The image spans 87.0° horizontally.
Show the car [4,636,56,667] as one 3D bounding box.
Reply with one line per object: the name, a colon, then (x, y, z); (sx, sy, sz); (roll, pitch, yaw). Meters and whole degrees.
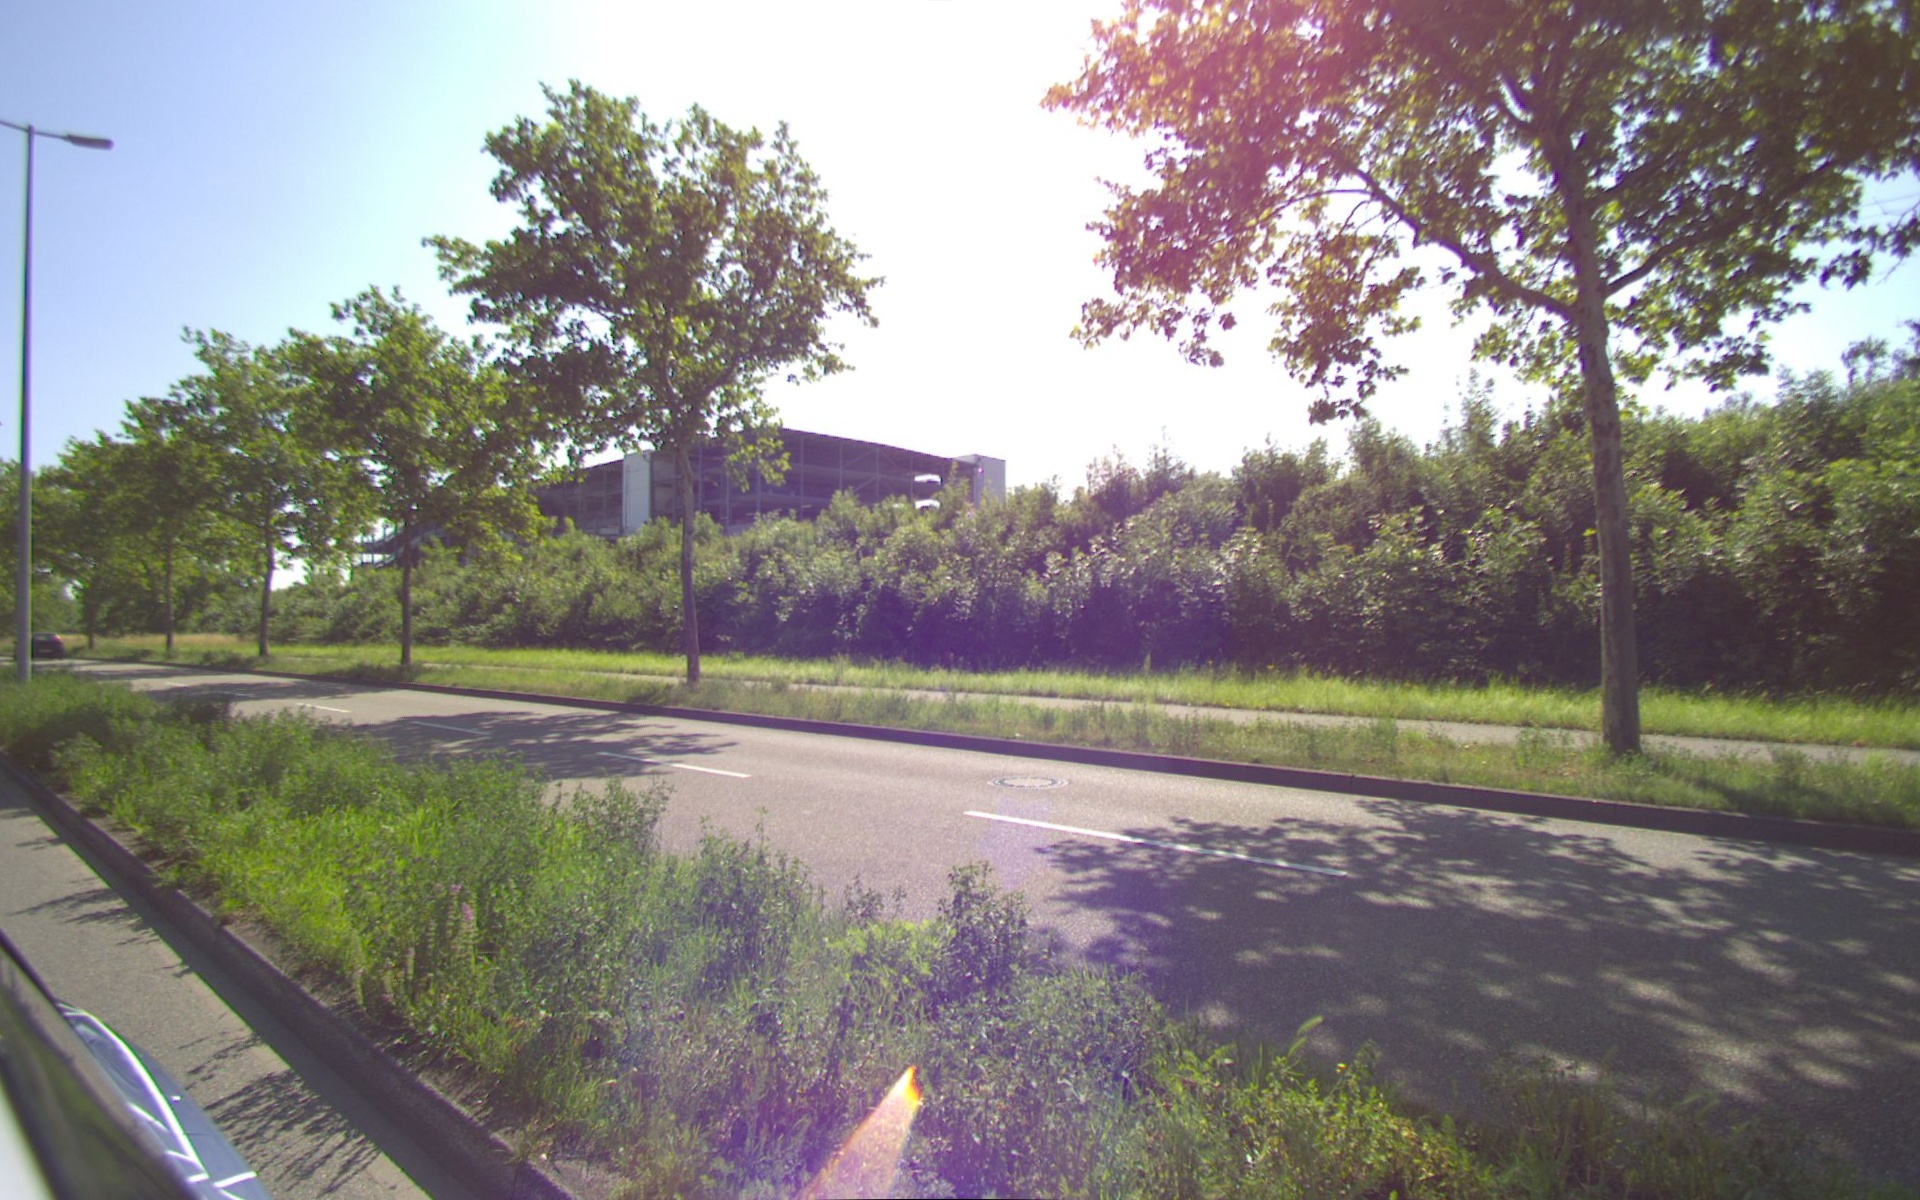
car: (-48.109, 2.644, 52.318); (3.925, 1.481, 1.554); (-2, -1, 41)
